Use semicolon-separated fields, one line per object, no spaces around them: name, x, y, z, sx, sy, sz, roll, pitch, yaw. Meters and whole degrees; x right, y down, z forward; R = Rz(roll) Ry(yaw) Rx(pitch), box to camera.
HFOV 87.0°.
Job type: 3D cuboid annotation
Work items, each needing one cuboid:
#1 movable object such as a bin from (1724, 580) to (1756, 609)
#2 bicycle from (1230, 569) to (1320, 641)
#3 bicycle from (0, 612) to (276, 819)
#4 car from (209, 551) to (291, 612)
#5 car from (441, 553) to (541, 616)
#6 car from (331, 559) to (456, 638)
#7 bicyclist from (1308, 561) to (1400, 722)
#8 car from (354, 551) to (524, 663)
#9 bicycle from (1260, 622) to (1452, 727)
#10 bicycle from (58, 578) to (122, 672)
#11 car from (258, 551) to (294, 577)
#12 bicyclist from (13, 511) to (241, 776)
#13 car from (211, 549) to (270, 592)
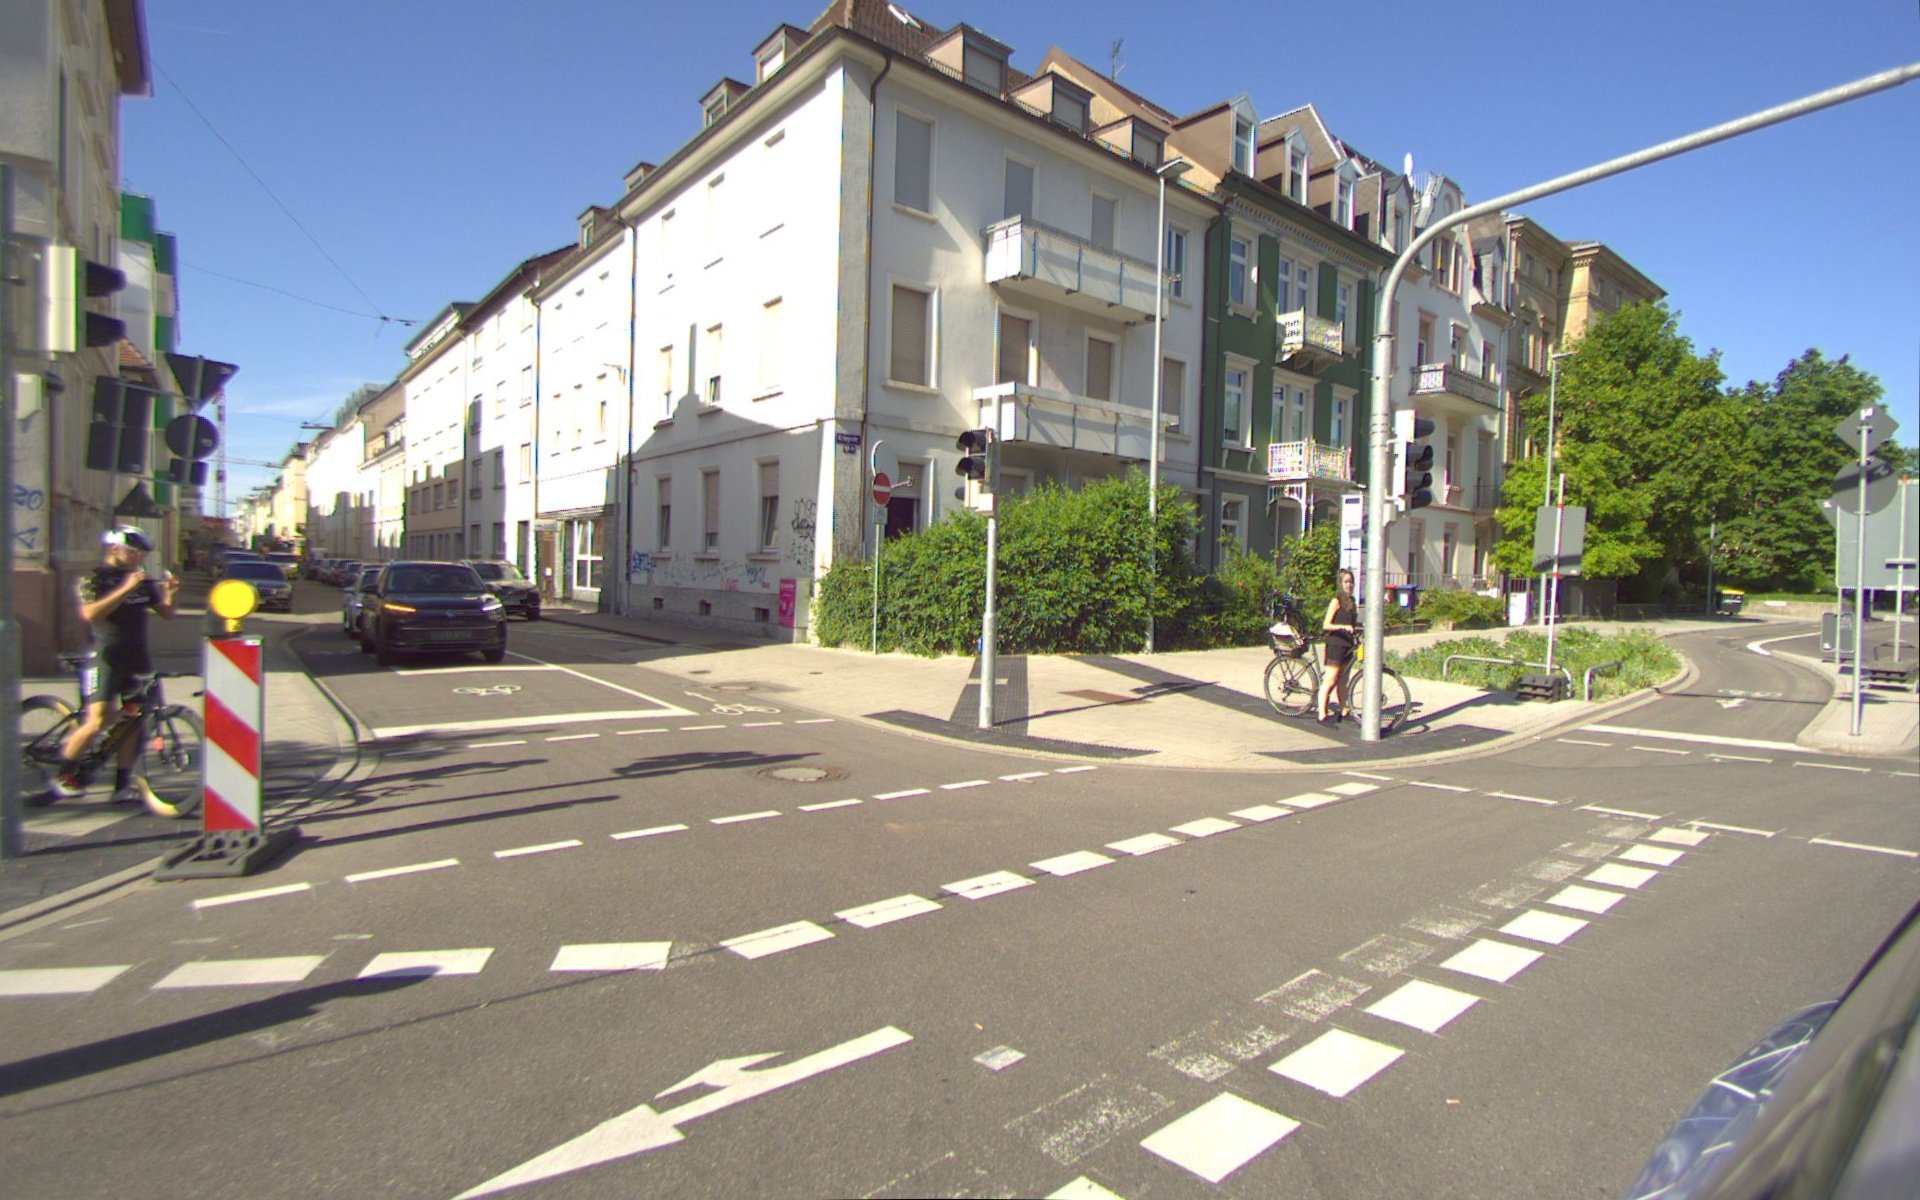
movable object such as a bin;40.824;-0.304;52.995;0.964;1.415;1.276;4;2;25
bicycle;6.699;0.106;21.421;2.449;1.462;0.709;1;0;-43
bicycle;-5.259;0.670;6.341;1.662;1.111;0.688;2;1;14
car;-21.947;-0.595;31.245;1.963;1.735;3.999;0;2;-36
car;-14.010;-0.498;30.109;1.962;1.735;4.000;0;2;-36
car;-12.641;-0.089;22.455;1.962;1.584;4.125;0;2;-36
bicyclist;4.425;0.436;11.354;0.843;1.730;0.604;1;1;-42
car;-8.936;0.048;17.173;1.948;1.639;4.263;0;1;-36
bicycle;4.421;0.790;11.435;0.594;1.038;1.965;1;0;-42
bicycle;-11.043;0.275;12.881;0.569;1.093;2.001;0;1;-39
car;-47.956;-2.551;70.924;1.963;1.735;3.999;0;2;-36
bicyclist;-5.142;0.234;6.276;0.858;1.518;0.723;1;1;14
car;-30.400;-1.251;42.734;1.963;1.735;3.999;0;2;-36
